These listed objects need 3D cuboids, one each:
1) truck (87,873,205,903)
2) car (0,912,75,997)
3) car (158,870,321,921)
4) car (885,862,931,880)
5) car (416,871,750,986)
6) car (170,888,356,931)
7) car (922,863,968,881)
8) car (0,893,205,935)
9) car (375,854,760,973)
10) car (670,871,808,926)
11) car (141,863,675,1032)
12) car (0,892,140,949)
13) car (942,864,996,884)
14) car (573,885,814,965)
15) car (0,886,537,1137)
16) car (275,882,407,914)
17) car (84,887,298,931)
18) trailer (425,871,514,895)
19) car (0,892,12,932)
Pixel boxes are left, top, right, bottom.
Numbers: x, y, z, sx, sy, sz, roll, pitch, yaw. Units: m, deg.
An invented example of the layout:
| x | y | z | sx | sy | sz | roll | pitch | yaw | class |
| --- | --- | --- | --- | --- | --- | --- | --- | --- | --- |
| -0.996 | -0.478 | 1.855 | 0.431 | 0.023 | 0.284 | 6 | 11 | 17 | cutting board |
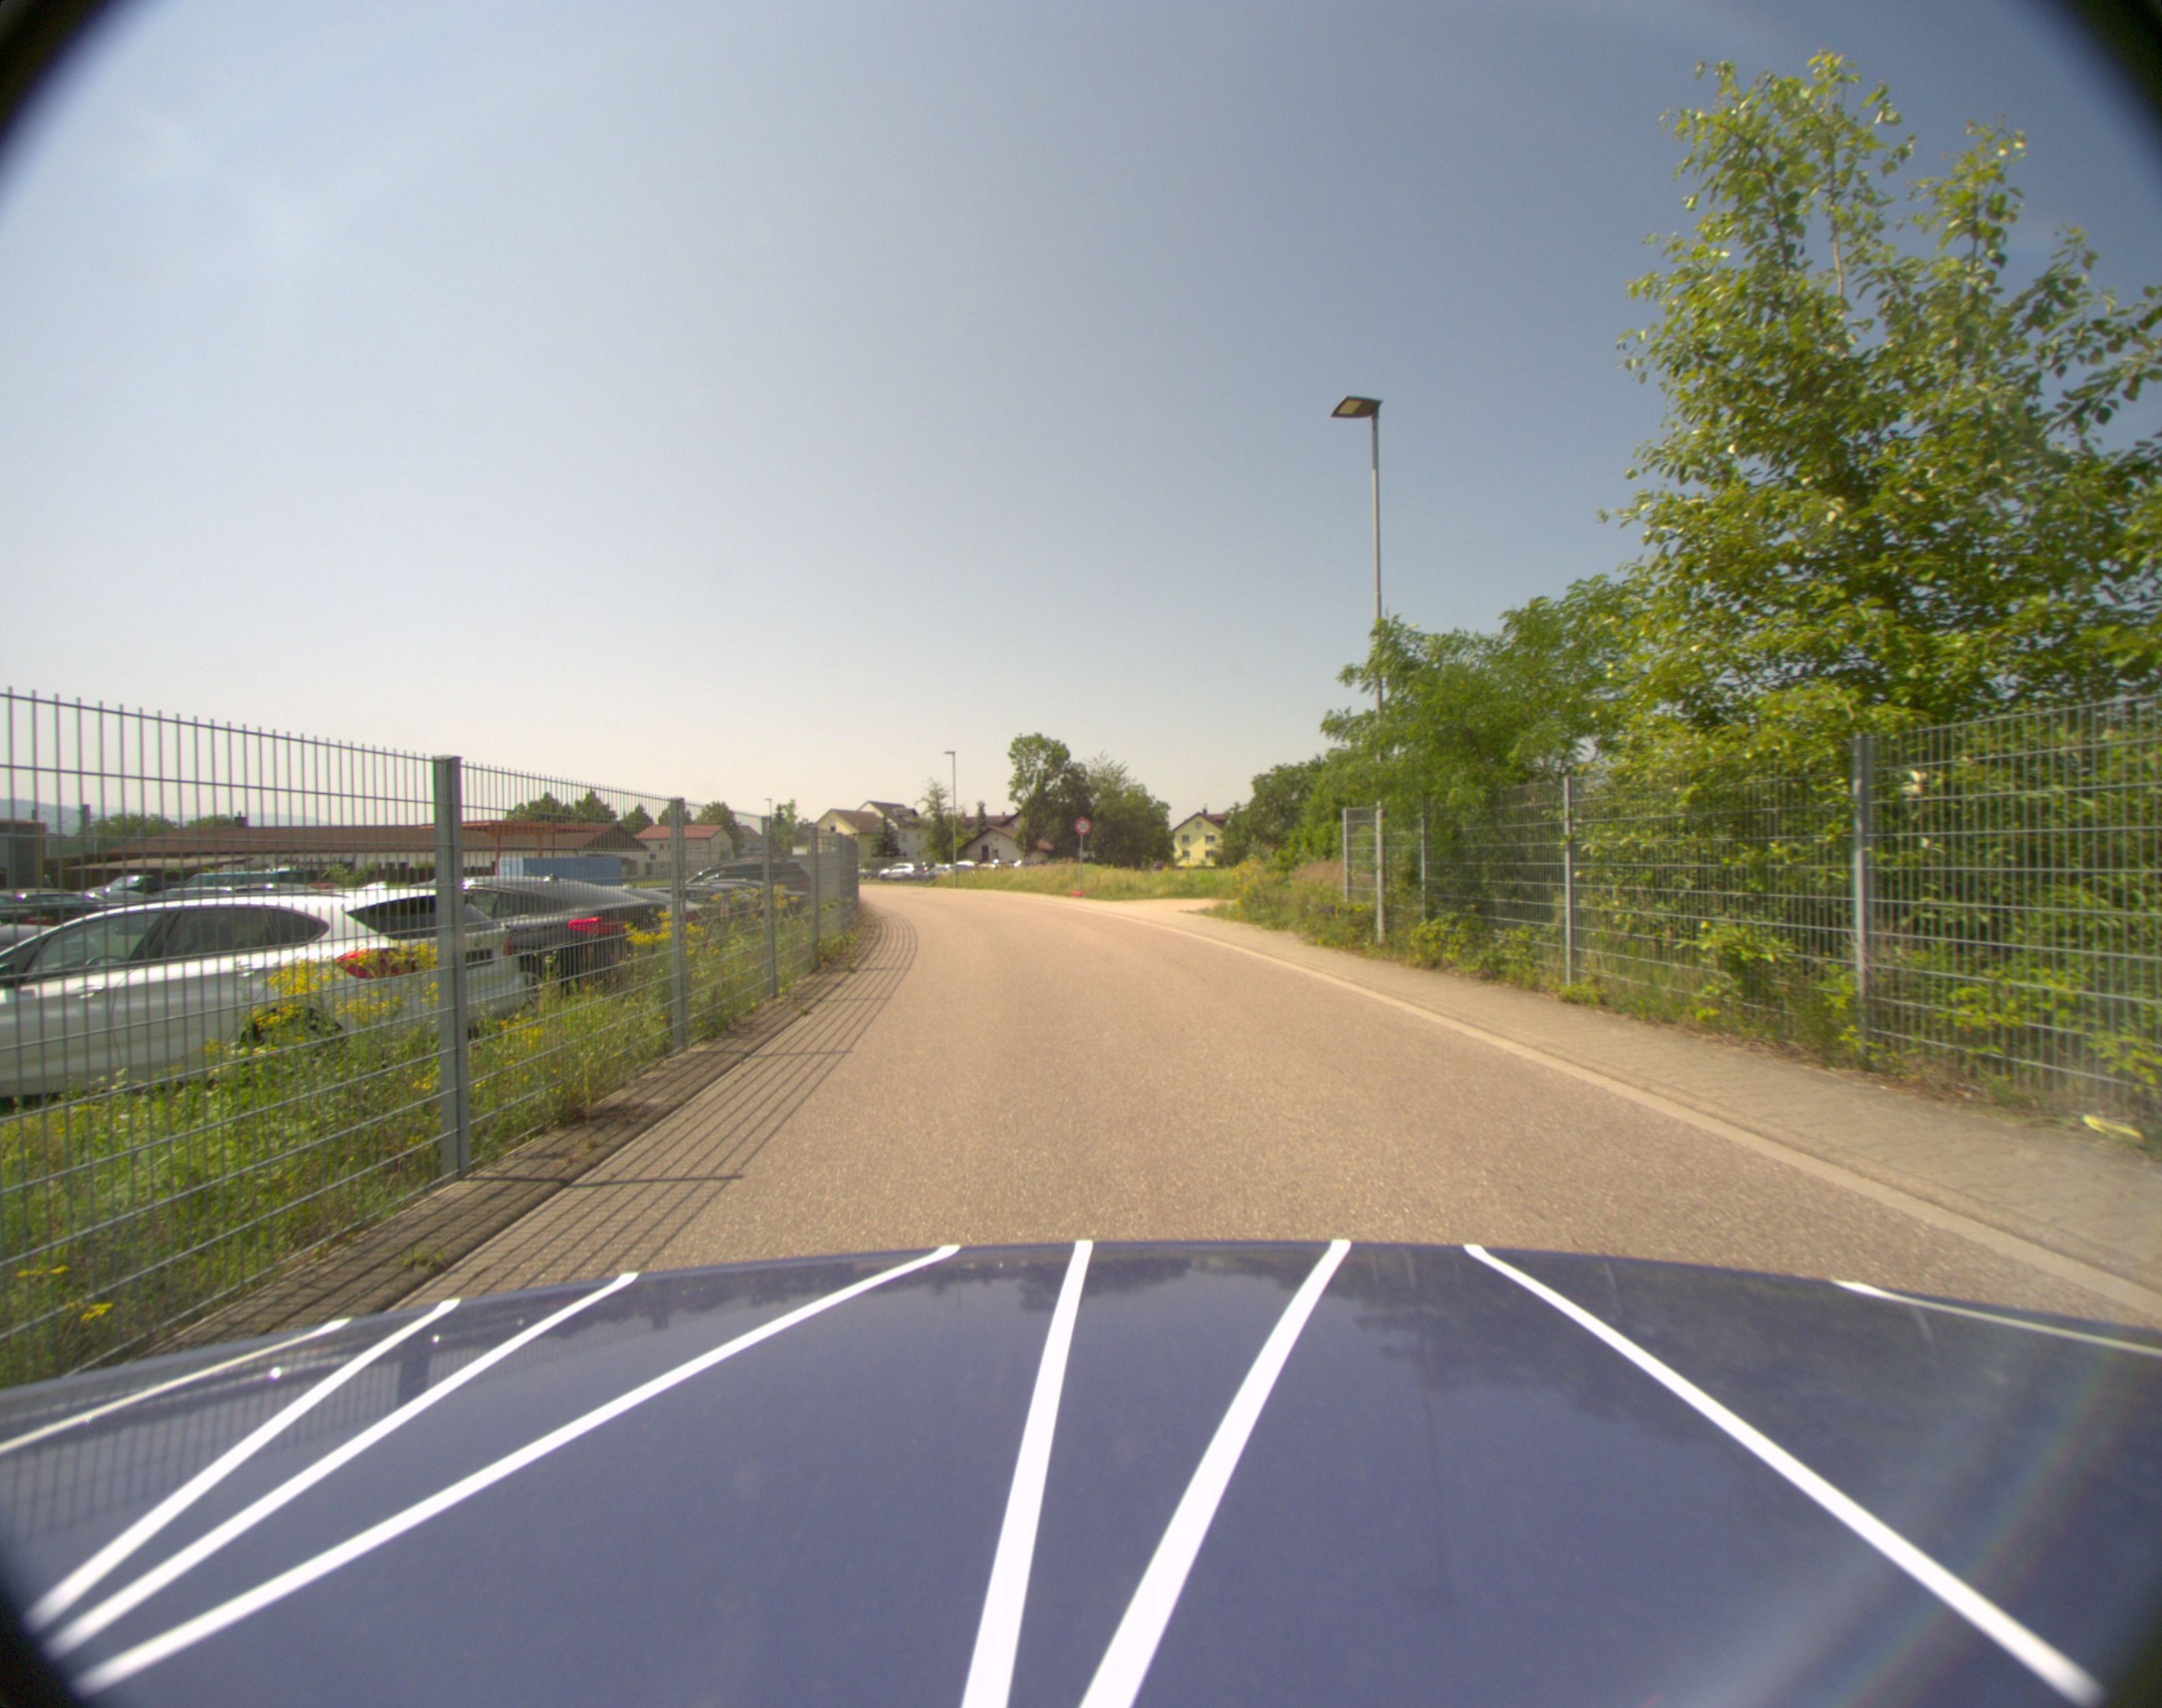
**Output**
| x | y | z | sx | sy | sz | roll | pitch | yaw | class |
| --- | --- | --- | --- | --- | --- | --- | --- | --- | --- |
| -62.658 | 2.208 | 51.070 | 2.059 | 1.787 | 4.800 | -1 | 0 | -2 | truck |
| -20.402 | 1.734 | 12.578 | 4.758 | 1.344 | 1.821 | -1 | 0 | -4 | car |
| -34.328 | 1.668 | 31.106 | 4.388 | 1.970 | 1.841 | -1 | 0 | -4 | car |
| -14.757 | 1.479 | 64.812 | 3.637 | 1.481 | 1.585 | -1 | 0 | 25 | car |
| -8.611 | 1.222 | 13.654 | 4.704 | 1.758 | 1.740 | -1 | 0 | -18 | car |
| -28.795 | 1.926 | 26.866 | 4.388 | 1.337 | 1.841 | -1 | 0 | -4 | car |
| -11.311 | 1.483 | 63.321 | 3.453 | 1.411 | 1.585 | -1 | 0 | 25 | car |
| -27.722 | 1.661 | 21.224 | 4.388 | 1.027 | 1.618 | -1 | 0 | -4 | car |
| -7.467 | 0.817 | 11.472 | 4.482 | 1.573 | 1.795 | -1 | 0 | -5 | car |
| -9.709 | 1.240 | 21.804 | 3.480 | 1.409 | 1.514 | -1 | 0 | -20 | car |
| -7.361 | 0.967 | 8.685 | 4.481 | 1.660 | 1.723 | -1 | 0 | -2 | car |
| -26.715 | 1.629 | 18.749 | 4.388 | 1.267 | 1.878 | -1 | 0 | -4 | car |
| -8.102 | 1.436 | 54.896 | 1.585 | 1.326 | 4.392 | -1 | 0 | -44 | car |
| -8.563 | 1.534 | 17.194 | 4.479 | 1.373 | 1.722 | -3 | 0 | -11 | car |
| -7.190 | 1.150 | 6.200 | 4.134 | 1.660 | 1.722 | -1 | 0 | -6 | car |
| -28.641 | 1.690 | 29.511 | 3.374 | 1.102 | 1.671 | -1 | 0 | -4 | car |
| -28.183 | 1.722 | 24.182 | 4.388 | 1.198 | 1.841 | -1 | 0 | -4 | car |
| -43.696 | 2.080 | 54.440 | 1.765 | 1.556 | 4.627 | -3 | -2 | 23 | trailer |
| -39.691 | 2.037 | 25.602 | 4.388 | 1.369 | 1.841 | -1 | 0 | -4 | car |
